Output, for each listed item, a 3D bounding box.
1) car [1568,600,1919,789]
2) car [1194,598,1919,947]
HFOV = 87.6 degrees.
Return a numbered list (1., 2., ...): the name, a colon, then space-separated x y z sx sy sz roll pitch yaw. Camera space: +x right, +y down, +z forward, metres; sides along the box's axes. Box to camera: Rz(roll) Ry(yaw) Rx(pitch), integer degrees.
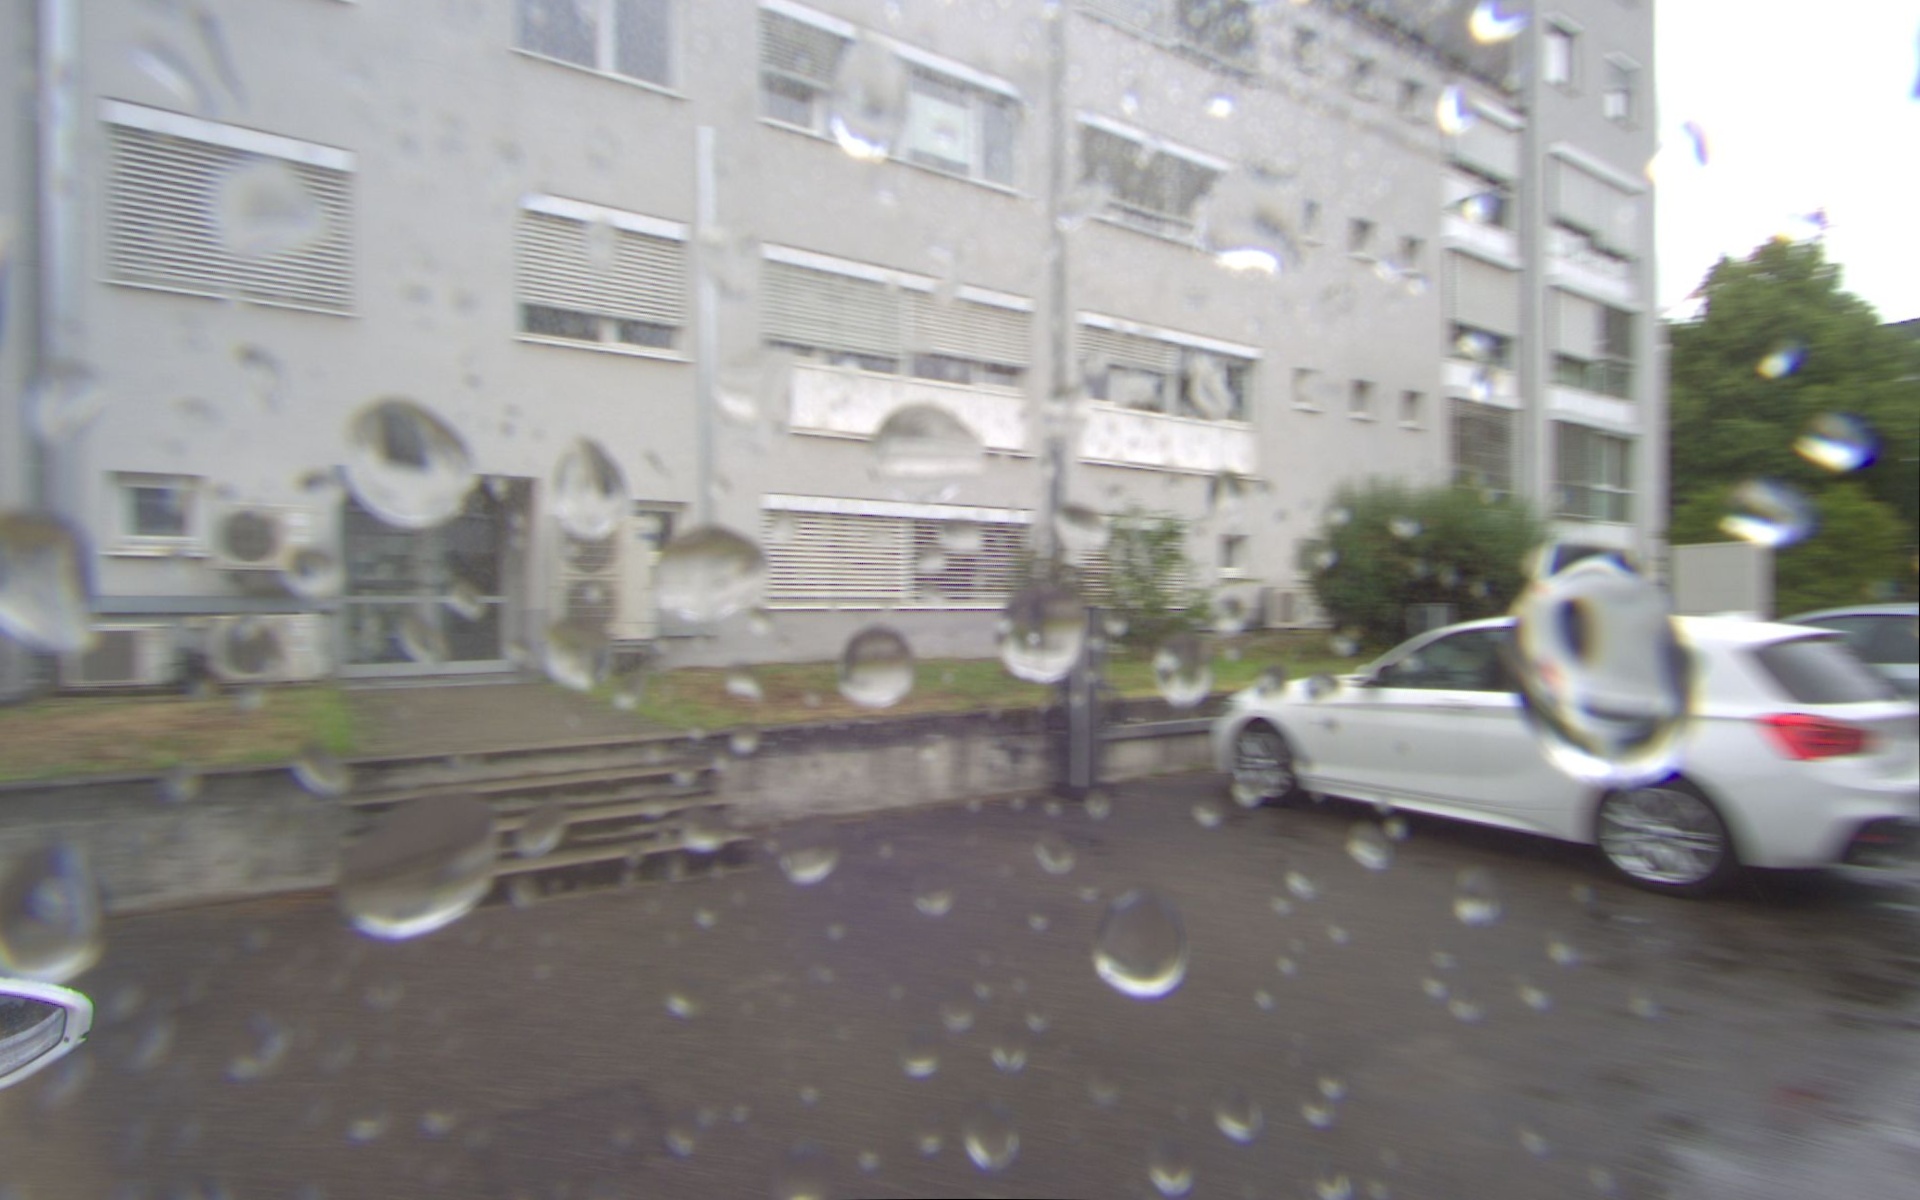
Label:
1. car: 8.182 0.782 9.047 1.972 1.509 4.198 1 -1 -31
2. car: 3.769 0.799 6.662 1.972 1.509 4.198 1 -1 -31
